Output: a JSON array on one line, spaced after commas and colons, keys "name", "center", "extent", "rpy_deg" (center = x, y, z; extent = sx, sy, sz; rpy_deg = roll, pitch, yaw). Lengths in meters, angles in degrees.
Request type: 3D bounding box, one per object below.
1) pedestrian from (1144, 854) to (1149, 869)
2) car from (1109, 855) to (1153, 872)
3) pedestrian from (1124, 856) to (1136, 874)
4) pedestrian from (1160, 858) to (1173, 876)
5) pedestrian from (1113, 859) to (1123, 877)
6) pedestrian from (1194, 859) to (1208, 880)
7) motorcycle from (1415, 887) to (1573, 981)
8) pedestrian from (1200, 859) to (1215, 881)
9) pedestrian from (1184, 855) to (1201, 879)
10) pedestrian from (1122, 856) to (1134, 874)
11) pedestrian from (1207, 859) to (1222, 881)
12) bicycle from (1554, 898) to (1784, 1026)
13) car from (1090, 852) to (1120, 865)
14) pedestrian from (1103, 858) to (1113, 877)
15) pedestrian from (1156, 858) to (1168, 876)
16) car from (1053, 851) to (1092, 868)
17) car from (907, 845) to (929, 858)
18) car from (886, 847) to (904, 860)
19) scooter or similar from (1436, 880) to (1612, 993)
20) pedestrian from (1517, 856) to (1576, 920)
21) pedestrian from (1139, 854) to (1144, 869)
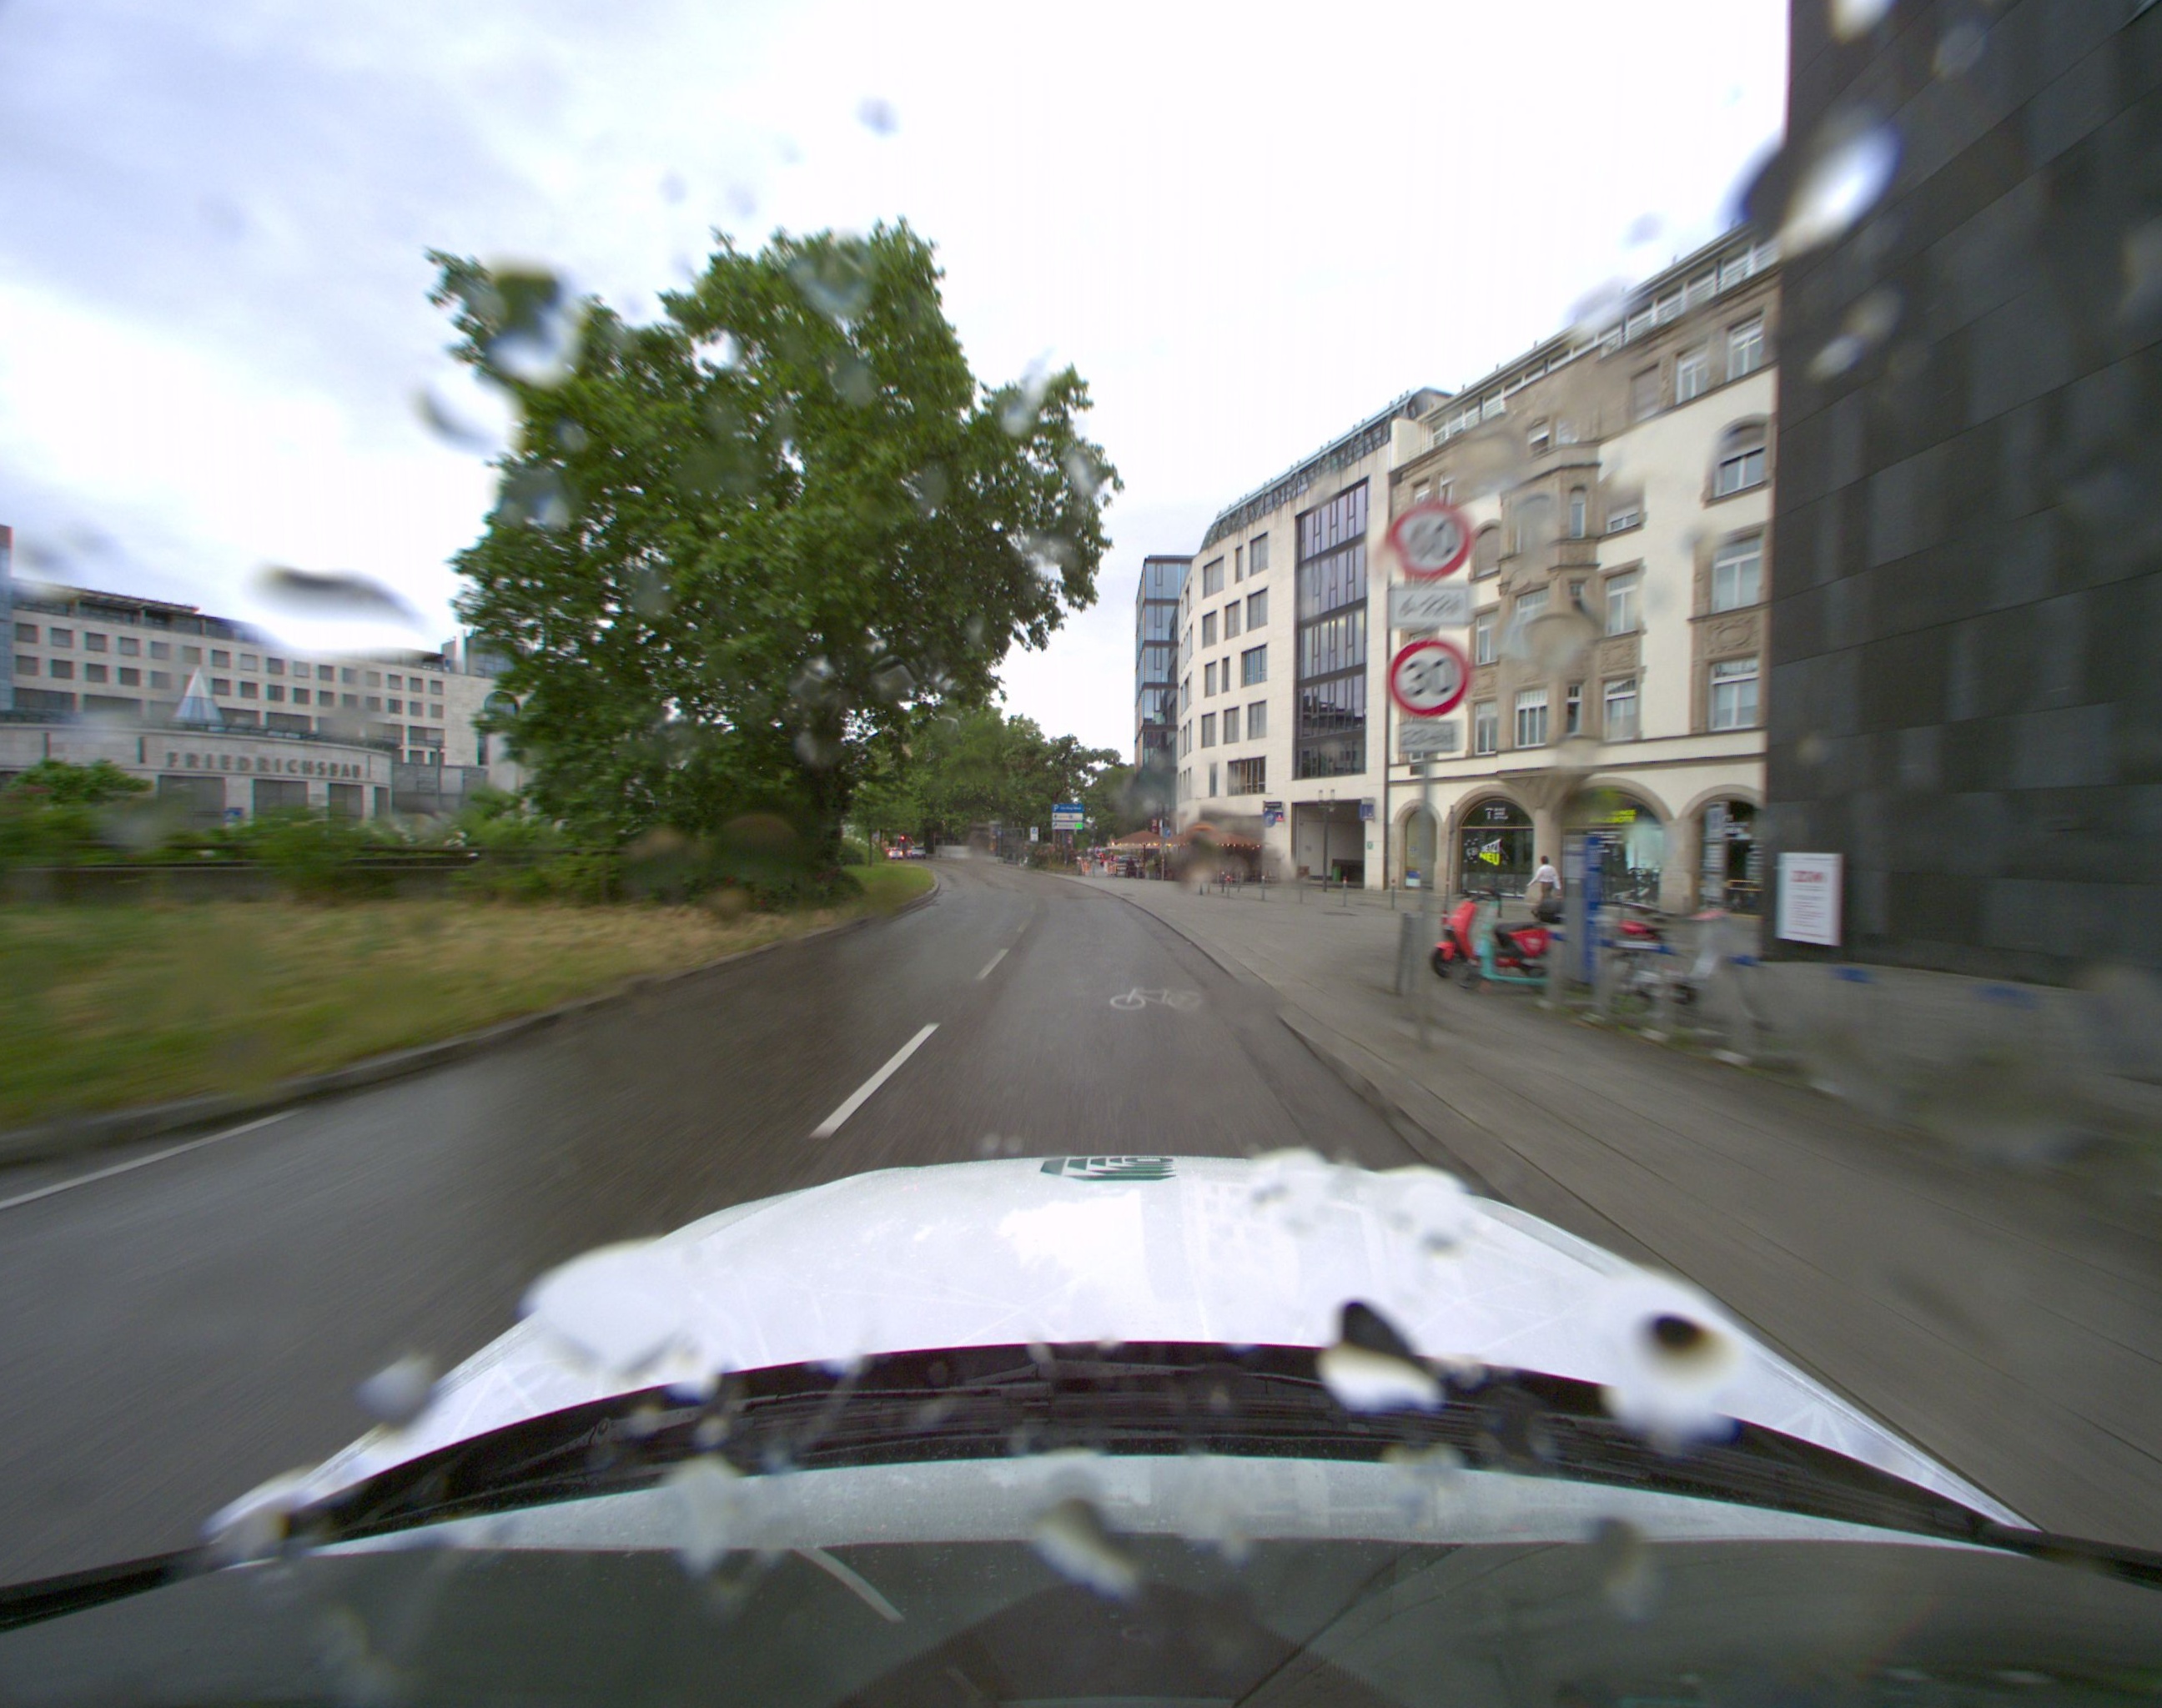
[{"name": "pedestrian", "center": [6.038, 0.670, 75.206], "extent": [0.433, 1.403, 0.478], "rpy_deg": [0, 0, 0]}, {"name": "car", "center": [5.526, 1.070, 90.155], "extent": [4.718, 1.691, 2.005], "rpy_deg": [2, 1, 0]}, {"name": "pedestrian", "center": [3.687, 0.826, 61.165], "extent": [0.815, 1.326, 0.635], "rpy_deg": [3, 0, -3]}, {"name": "pedestrian", "center": [6.413, 0.957, 61.102], "extent": [0.815, 1.326, 0.635], "rpy_deg": [3, 0, -3]}, {"name": "pedestrian", "center": [2.701, 1.015, 59.237], "extent": [0.604, 1.326, 0.567], "rpy_deg": [3, 0, -3]}, {"name": "pedestrian", "center": [7.667, 0.986, 52.053], "extent": [0.629, 1.326, 0.631], "rpy_deg": [3, 0, -23]}, {"name": "motorcycle", "center": [5.401, 1.039, 10.693], "extent": [1.788, 1.140, 0.595], "rpy_deg": [2, -1, -5]}, {"name": "pedestrian", "center": [7.954, 0.984, 51.107], "extent": [0.629, 1.326, 0.631], "rpy_deg": [3, 0, -23]}, {"name": "pedestrian", "center": [6.291, 0.747, 45.950], "extent": [0.772, 1.326, 0.635], "rpy_deg": [3, 0, -4]}, {"name": "pedestrian", "center": [3.570, 0.824, 61.947], "extent": [0.815, 1.326, 0.635], "rpy_deg": [3, 0, -3]}, {"name": "pedestrian", "center": [8.240, 0.969, 50.294], "extent": [0.629, 1.326, 0.631], "rpy_deg": [3, 0, -23]}, {"name": "bicycle", "center": [5.631, 1.019, 7.849], "extent": [1.791, 1.108, 0.669], "rpy_deg": [2, -1, -5]}, {"name": "car", "center": [2.863, 0.574, 98.292], "extent": [1.623, 1.416, 3.486], "rpy_deg": [2, 0, -43]}, {"name": "pedestrian", "center": [1.948, 0.968, 59.212], "extent": [0.604, 1.326, 0.567], "rpy_deg": [3, 0, -3]}, {"name": "pedestrian", "center": [6.150, 0.960, 61.989], "extent": [0.815, 1.326, 0.635], "rpy_deg": [3, 0, -3]}, {"name": "car", "center": [-0.961, 0.600, 90.354], "extent": [4.088, 1.621, 1.860], "rpy_deg": [4, -1, -4]}, {"name": "car", "center": [-20.884, -0.303, 104.130], "extent": [1.954, 1.666, 4.313], "rpy_deg": [1, 0, -22]}, {"name": "car", "center": [-22.535, -0.100, 98.580], "extent": [1.596, 1.491, 3.479], "rpy_deg": [-2, 1, -22]}, {"name": "scooter or similar", "center": [5.244, 0.965, 9.684], "extent": [1.788, 1.243, 0.595], "rpy_deg": [2, -1, -5]}, {"name": "pedestrian", "center": [13.933, 0.986, 24.398], "extent": [0.872, 1.837, 1.244], "rpy_deg": [3, -1, -13]}, {"name": "pedestrian", "center": [5.584, 0.670, 74.812], "extent": [0.433, 1.403, 0.478], "rpy_deg": [0, 0, 0]}]
